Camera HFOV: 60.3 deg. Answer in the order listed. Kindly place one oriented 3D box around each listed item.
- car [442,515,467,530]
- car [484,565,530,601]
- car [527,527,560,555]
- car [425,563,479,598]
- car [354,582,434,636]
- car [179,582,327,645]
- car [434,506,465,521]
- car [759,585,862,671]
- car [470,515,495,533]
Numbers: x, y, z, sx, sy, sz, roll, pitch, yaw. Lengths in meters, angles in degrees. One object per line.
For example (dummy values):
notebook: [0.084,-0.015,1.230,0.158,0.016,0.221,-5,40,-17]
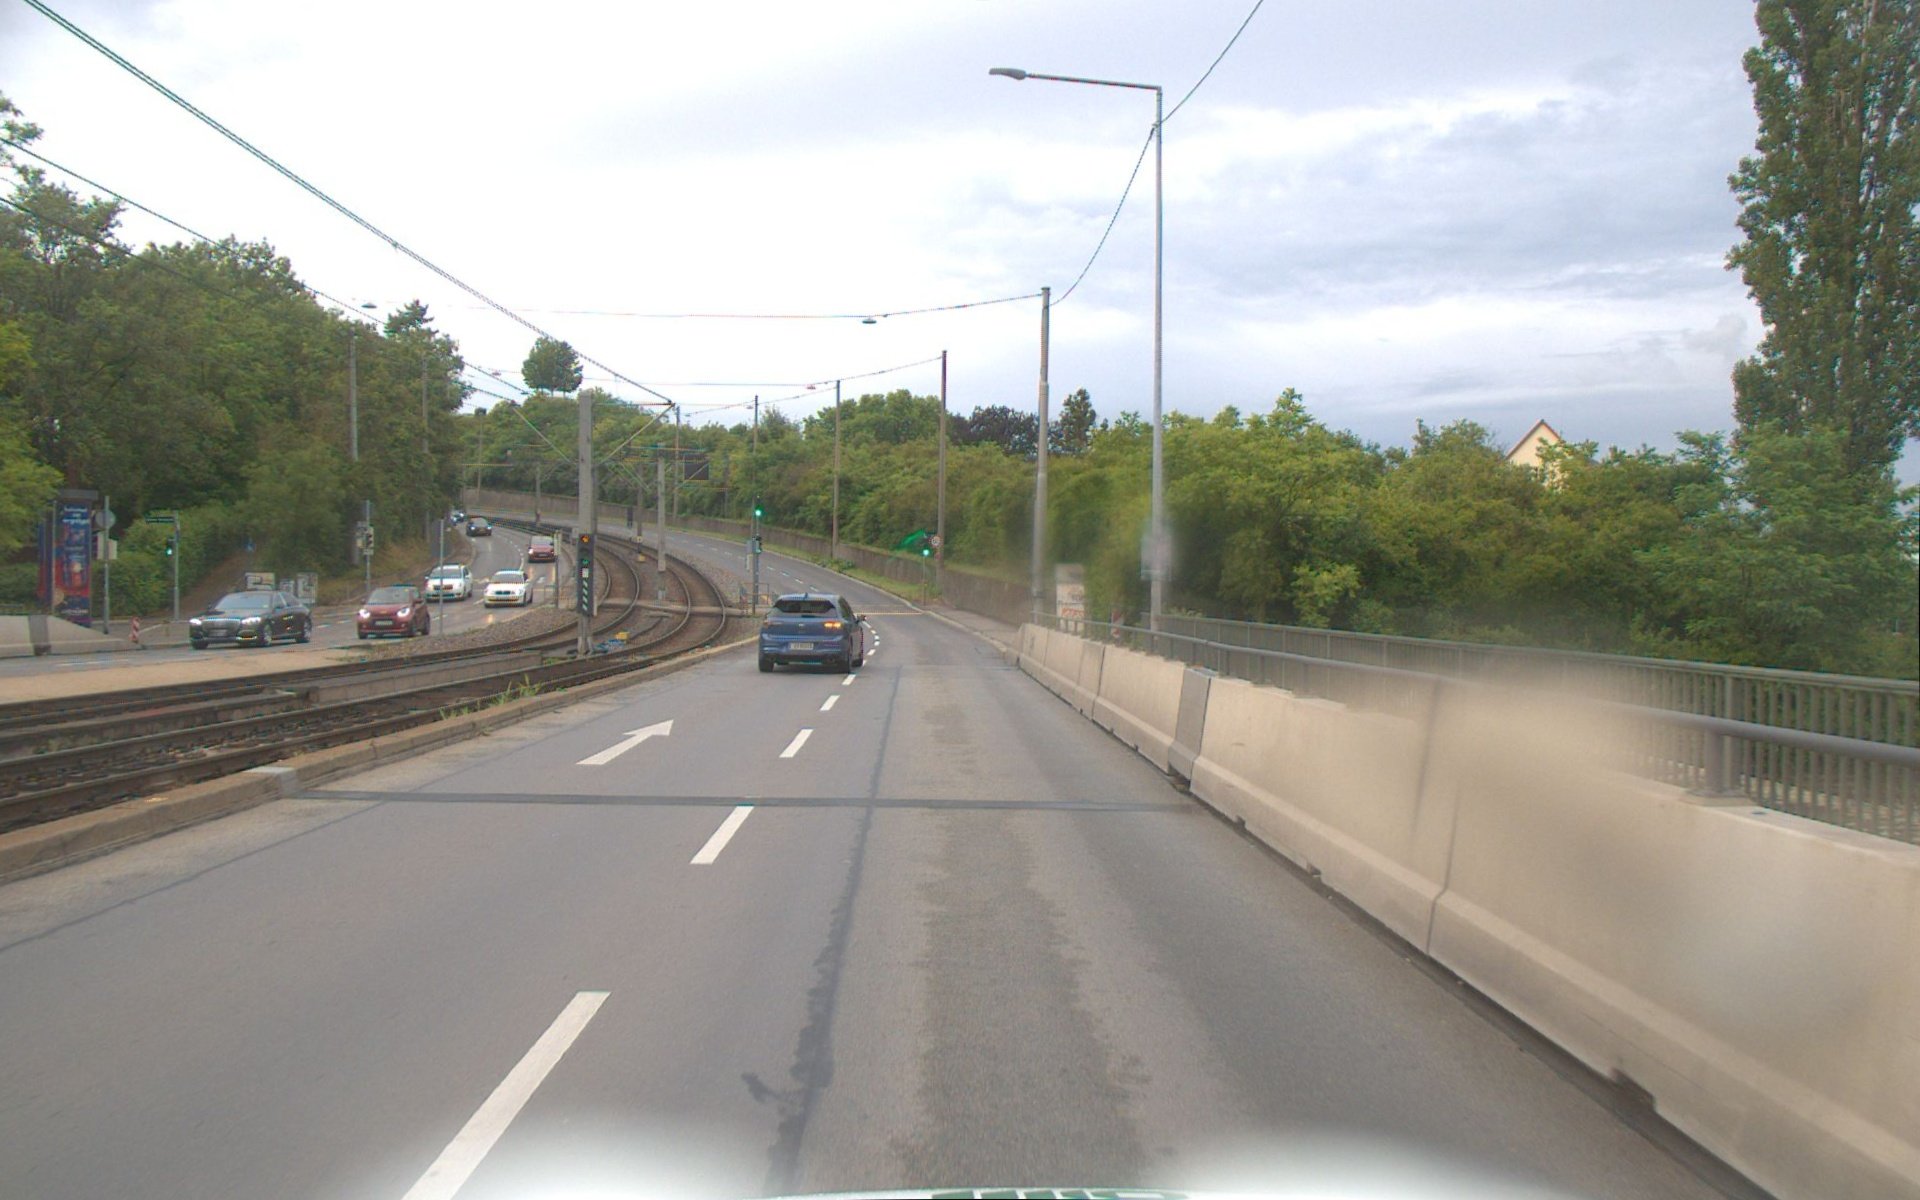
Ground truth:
car: [-52.969,-8.123,173.234,1.616,1.408,3.856,-3,5,-30]
car: [-19.611,-0.706,71.704,1.700,1.462,4.477,-1,0,-12]
car: [-27.189,-3.865,108.104,1.815,1.624,4.721,-1,4,-11]
car: [-23.317,-0.868,76.047,1.788,1.541,4.519,0,0,-10]
car: [-17.313,0.243,50.702,1.569,1.519,3.015,-1,2,-5]
car: [-19.324,0.373,45.469,1.929,1.625,5.183,-1,-1,-1]
car: [-51.032,-8.648,165.330,1.801,1.403,4.657,-3,5,-31]
car: [-2.827,0.507,31.989,1.728,1.527,3.998,1,0,-2]
car: [-42.028,-6.684,145.564,1.692,1.483,4.248,-1,4,-22]
